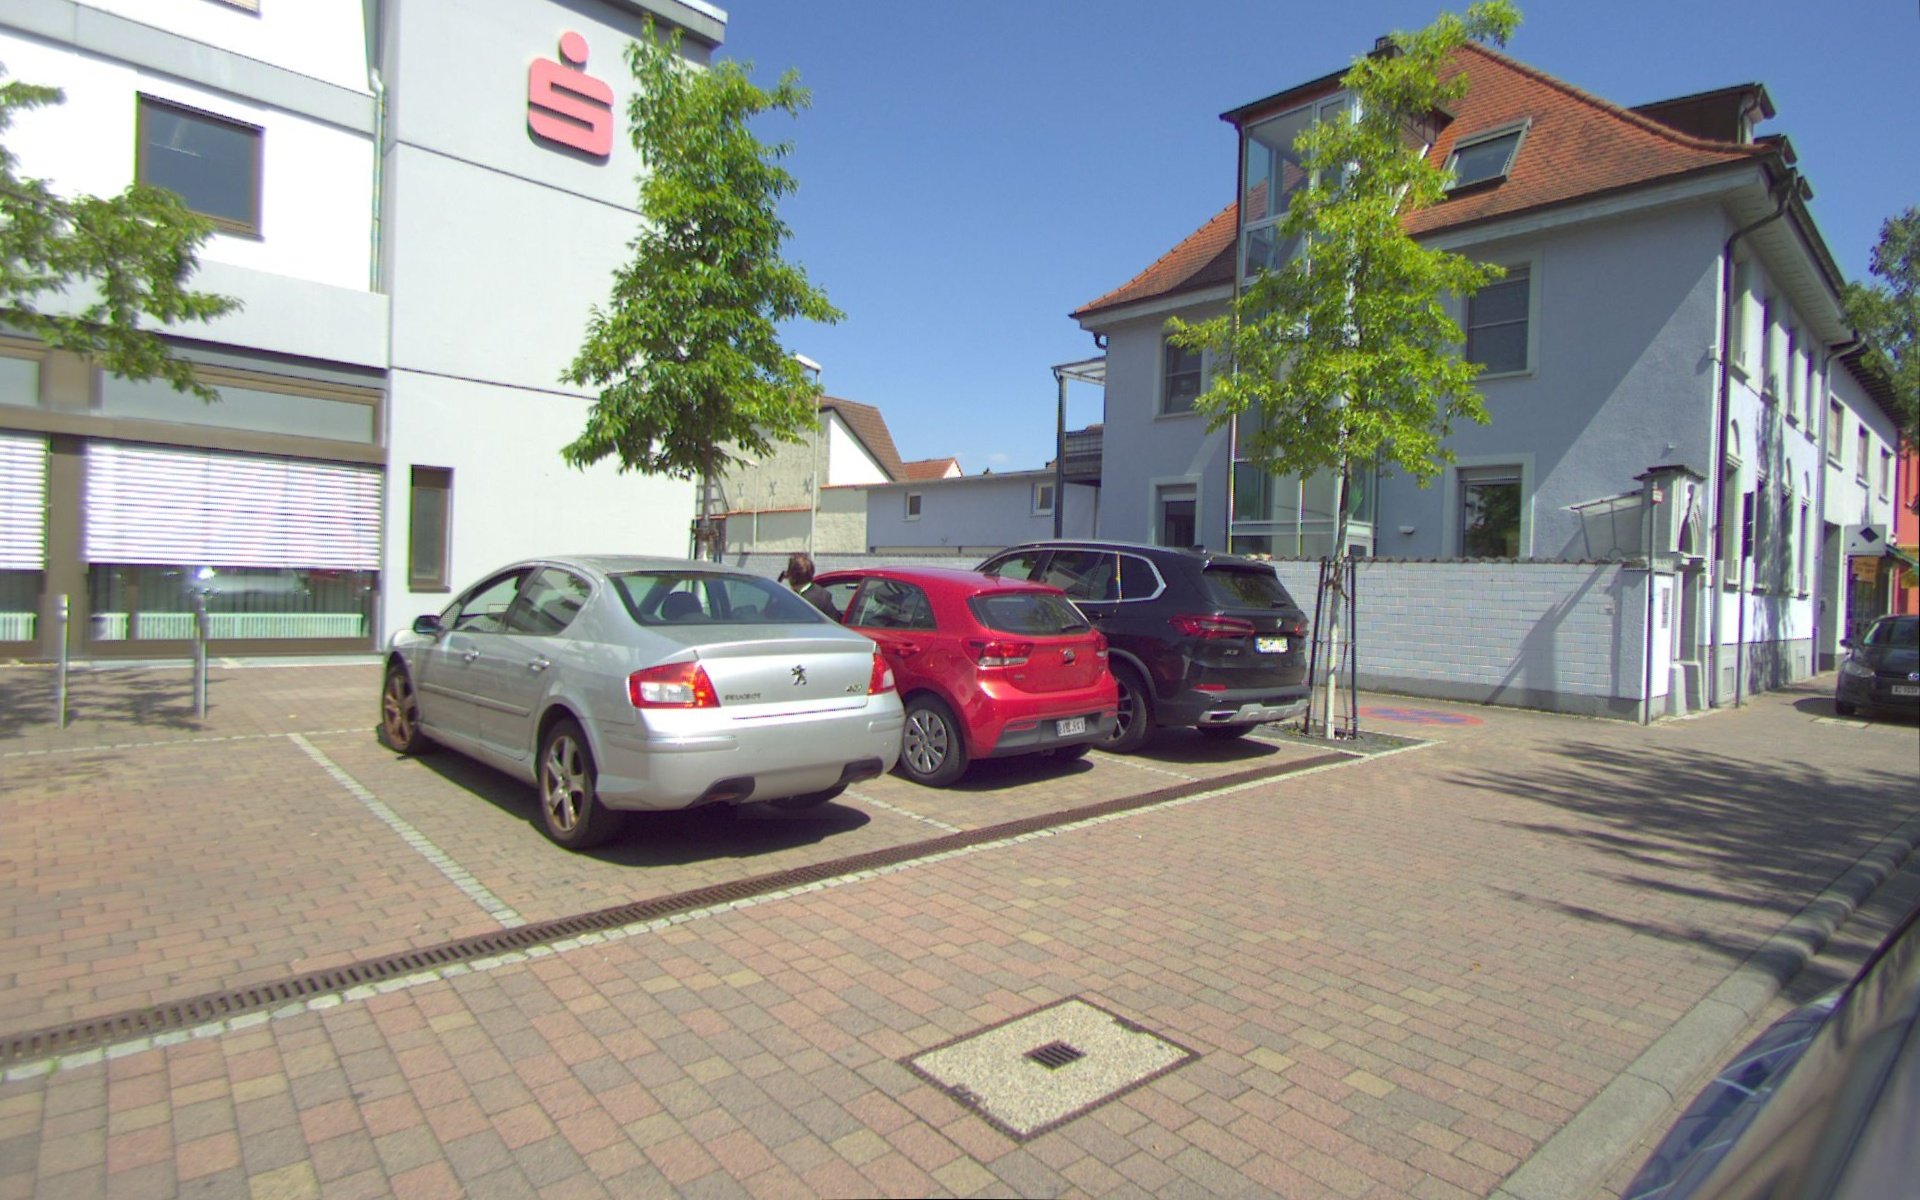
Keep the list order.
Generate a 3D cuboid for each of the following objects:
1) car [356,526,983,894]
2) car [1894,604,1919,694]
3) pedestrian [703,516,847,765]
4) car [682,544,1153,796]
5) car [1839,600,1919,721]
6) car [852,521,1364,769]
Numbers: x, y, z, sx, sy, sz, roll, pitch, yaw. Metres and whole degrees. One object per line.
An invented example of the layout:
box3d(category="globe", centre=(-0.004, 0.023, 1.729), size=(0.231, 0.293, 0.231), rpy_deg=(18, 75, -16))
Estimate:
box3d(category="car", centre=(-2.149, 0.358, 6.471), size=(4.539, 1.458, 1.810), rpy_deg=(6, 3, 44))
box3d(category="car", centre=(18.022, 0.877, 17.826), size=(4.022, 1.499, 1.722), rpy_deg=(1, 2, -40))
box3d(category="pedestrian", centre=(-1.387, 0.264, 7.577), size=(0.749, 1.738, 0.688), rpy_deg=(4, 2, 43))
box3d(category="car", centre=(-0.508, 0.379, 8.284), size=(3.732, 1.470, 1.717), rpy_deg=(5, 3, 44))
box3d(category="car", centre=(13.833, 0.828, 14.211), size=(3.854, 1.499, 1.707), rpy_deg=(1, 3, -42))
box3d(category="car", centre=(1.201, 0.226, 9.963), size=(2.111, 1.792, 4.639), rpy_deg=(2, 3, -42))
